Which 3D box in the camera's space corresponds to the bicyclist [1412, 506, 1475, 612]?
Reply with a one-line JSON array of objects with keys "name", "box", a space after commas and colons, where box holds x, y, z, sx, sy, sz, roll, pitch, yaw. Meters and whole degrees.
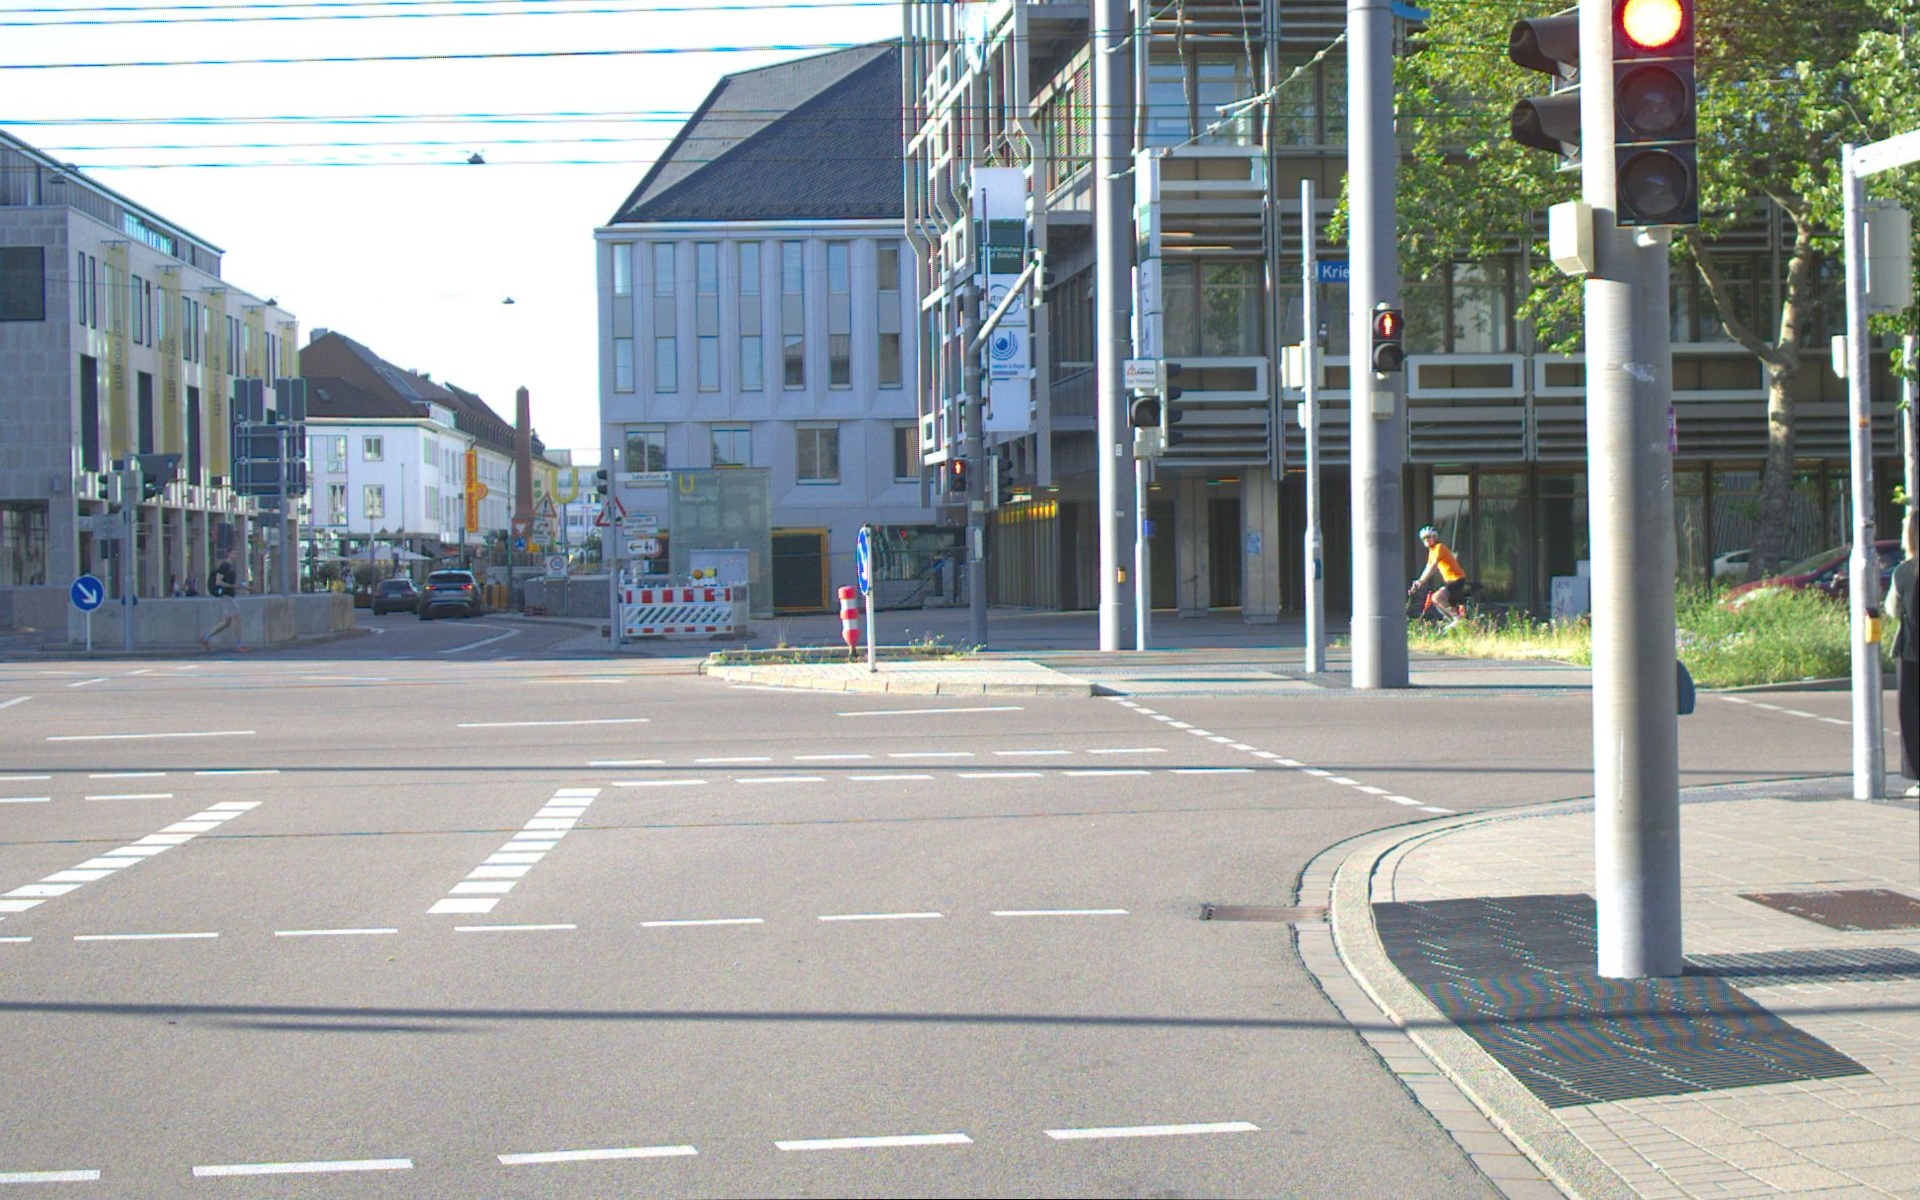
[{"name": "bicyclist", "box": [6.631, -0.565, 47.150, 0.711, 1.432, 0.497, 1, 0, -9]}]

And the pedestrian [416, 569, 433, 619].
[{"name": "pedestrian", "box": [-18.223, -0.212, 117.042, 0.521, 1.674, 0.583, 1, 1, -7]}]

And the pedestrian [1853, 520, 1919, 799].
[{"name": "pedestrian", "box": [5.340, 0.316, 18.670, 0.788, 1.487, 0.644, 1, 0, -1]}]

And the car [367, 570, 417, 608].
[{"name": "car", "box": [-22.342, -0.450, 135.378, 1.785, 1.446, 4.001, 1, 1, -7]}]

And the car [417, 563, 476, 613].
[{"name": "car", "box": [-16.135, -0.390, 108.201, 1.737, 1.525, 3.856, 1, 1, -7]}]

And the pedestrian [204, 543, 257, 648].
[{"name": "pedestrian", "box": [-13.196, -0.089, 62.219, 0.642, 1.883, 0.790, 1, 0, 14]}]

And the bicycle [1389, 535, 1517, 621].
[{"name": "bicycle", "box": [6.759, -0.306, 47.173, 1.644, 1.150, 0.497, 1, 0, -9]}]

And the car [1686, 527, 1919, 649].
[{"name": "car", "box": [11.911, -0.176, 46.146, 3.884, 1.579, 1.660, -1, 1, -7]}]
